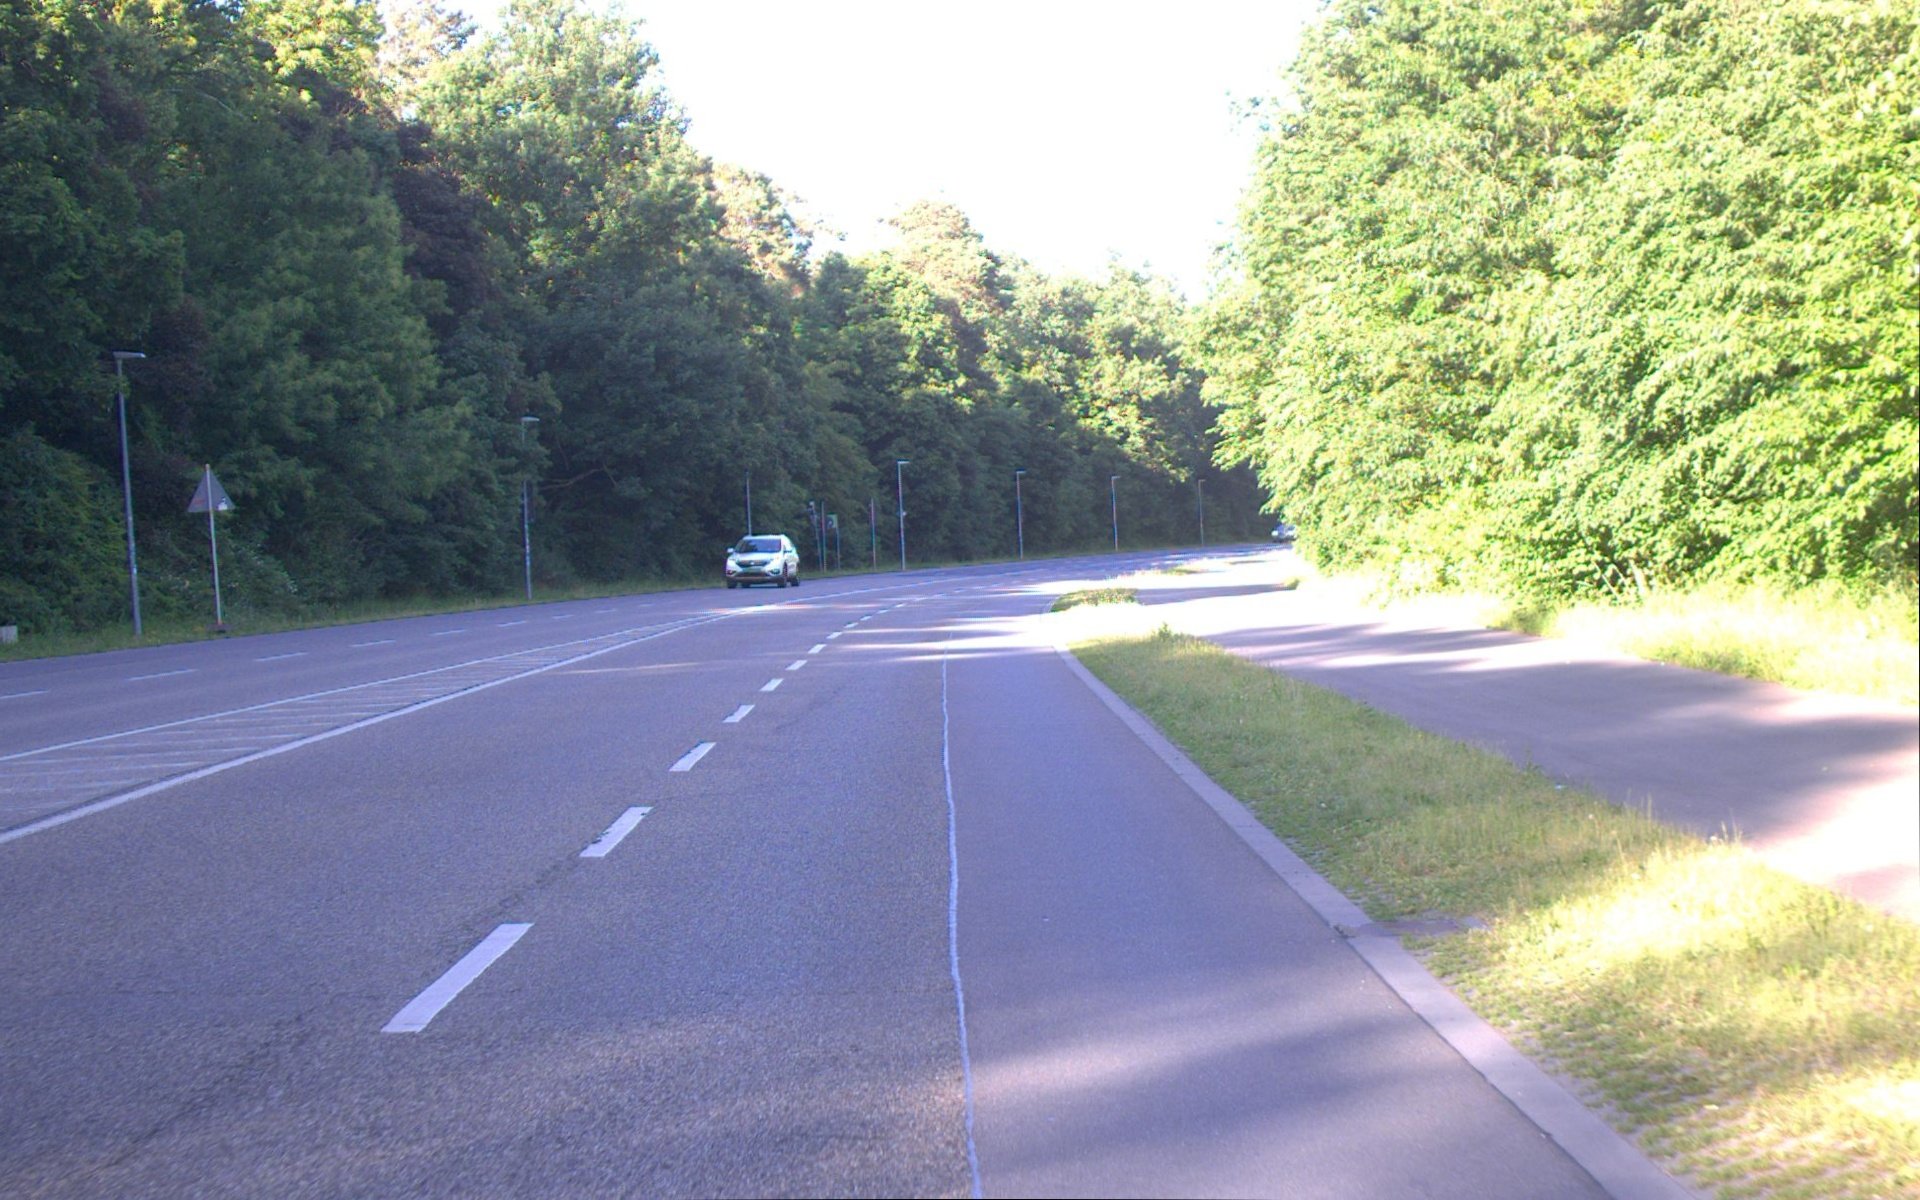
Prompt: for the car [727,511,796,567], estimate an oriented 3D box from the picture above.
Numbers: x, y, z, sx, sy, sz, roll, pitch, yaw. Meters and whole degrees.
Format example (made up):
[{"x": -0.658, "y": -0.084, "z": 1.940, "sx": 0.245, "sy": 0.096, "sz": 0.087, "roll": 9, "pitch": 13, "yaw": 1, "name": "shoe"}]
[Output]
[{"x": -6.236, "y": -1.935, "z": 108.460, "sx": 1.908, "sy": 1.658, "sz": 4.734, "roll": -1, "pitch": 1, "yaw": 0, "name": "car"}]
